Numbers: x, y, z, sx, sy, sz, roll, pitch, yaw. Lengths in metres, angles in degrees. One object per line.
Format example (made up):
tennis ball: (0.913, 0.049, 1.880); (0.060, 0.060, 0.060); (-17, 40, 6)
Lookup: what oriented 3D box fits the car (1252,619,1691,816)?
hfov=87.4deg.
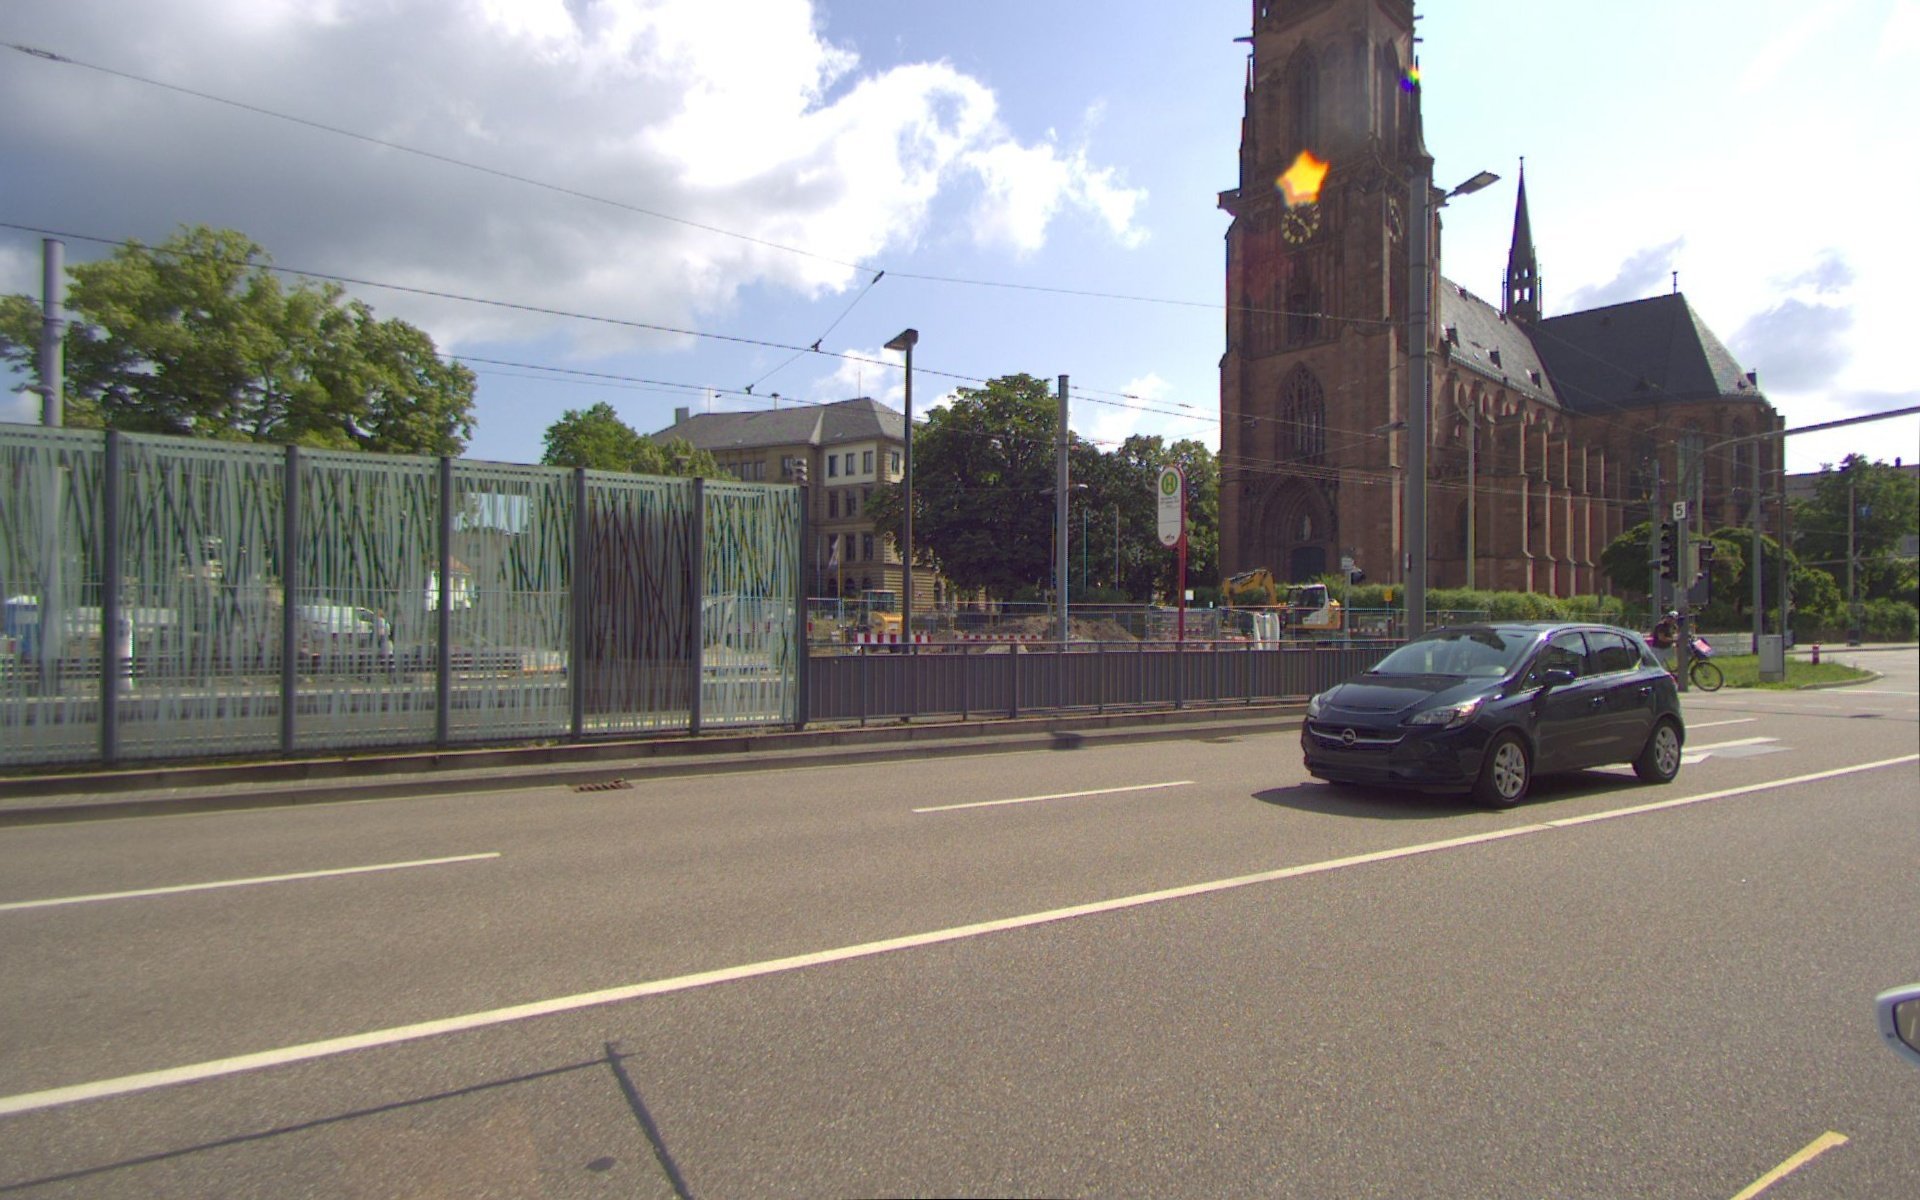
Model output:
car: (4.675, 0.903, 9.121); (3.698, 1.436, 1.906); (1, -1, -31)

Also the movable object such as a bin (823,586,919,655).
movable object such as a bin: (-4.166, 0.945, 46.097); (1.982, 2.950, 5.100); (1, -1, -37)

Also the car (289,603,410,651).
car: (-29.055, 1.237, 47.953); (1.905, 2.166, 4.639); (-1, 0, 26)

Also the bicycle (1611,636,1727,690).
bicycle: (16.171, 1.417, 22.969); (0.917, 1.141, 2.016); (1, -1, -20)

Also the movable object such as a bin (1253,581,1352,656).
movable object such as a bin: (15.470, 0.795, 45.376); (3.948, 3.147, 1.986); (-2, 0, -27)

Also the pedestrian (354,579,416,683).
pedestrian: (-11.744, 0.631, 20.555); (1.037, 2.040, 1.062); (1, -1, -27)

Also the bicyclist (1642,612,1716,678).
bicyclist: (16.287, 1.006, 22.778); (0.812, 1.455, 1.087); (1, -1, -21)
